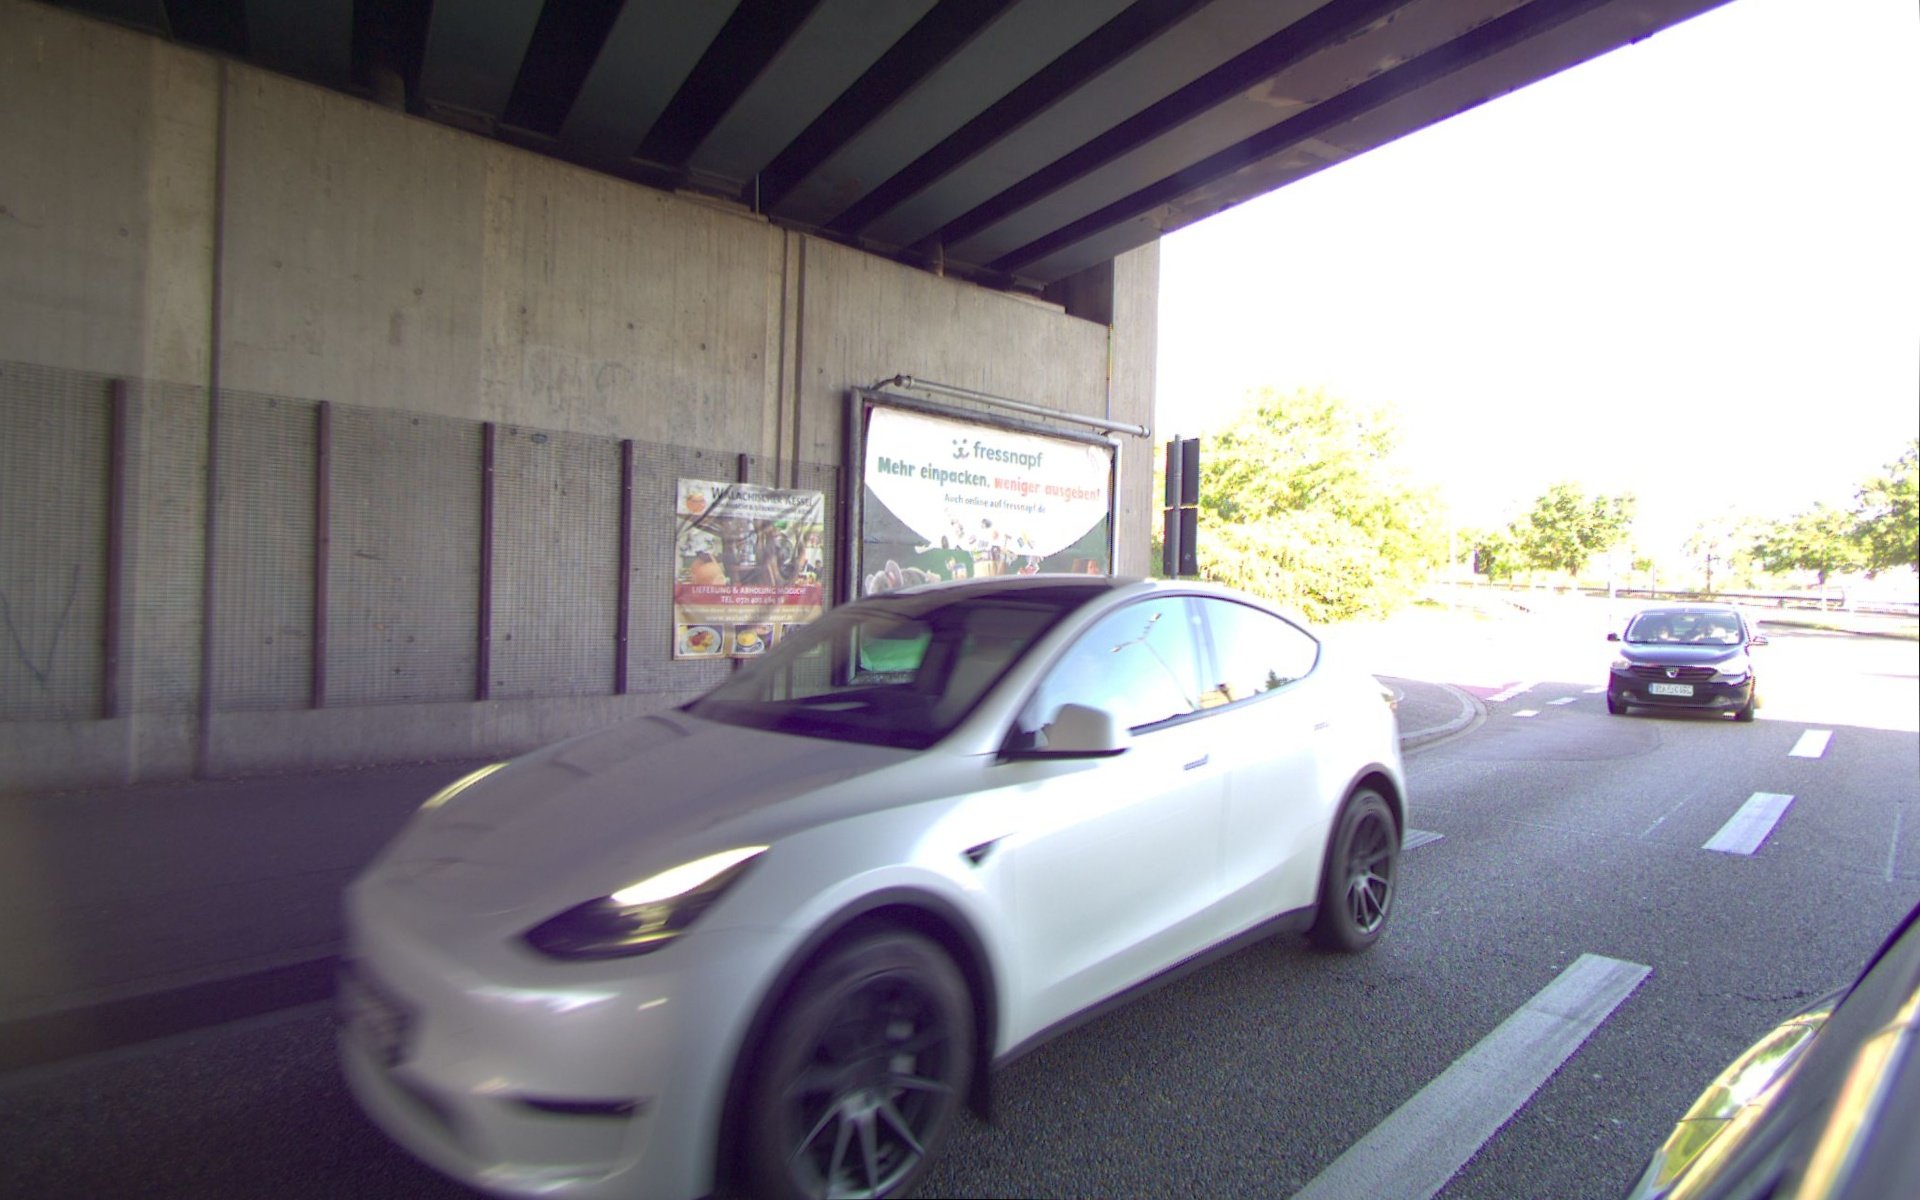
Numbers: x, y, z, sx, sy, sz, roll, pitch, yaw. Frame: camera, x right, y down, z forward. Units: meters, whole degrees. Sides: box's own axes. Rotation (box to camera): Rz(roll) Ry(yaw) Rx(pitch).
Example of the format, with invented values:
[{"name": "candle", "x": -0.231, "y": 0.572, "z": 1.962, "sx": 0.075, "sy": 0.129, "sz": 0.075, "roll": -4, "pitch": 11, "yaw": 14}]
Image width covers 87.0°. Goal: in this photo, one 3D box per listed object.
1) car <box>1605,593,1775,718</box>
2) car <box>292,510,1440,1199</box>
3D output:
[{"name": "car", "x": 11.159, "y": 0.711, "z": 15.351, "sx": 1.772, "sy": 1.621, "sz": 4.045, "roll": 0, "pitch": 0, "yaw": 40}, {"name": "car", "x": 0.098, "y": 0.611, "z": 4.059, "sx": 1.994, "sy": 1.571, "sz": 4.350, "roll": 0, "pitch": 0, "yaw": 45}]
